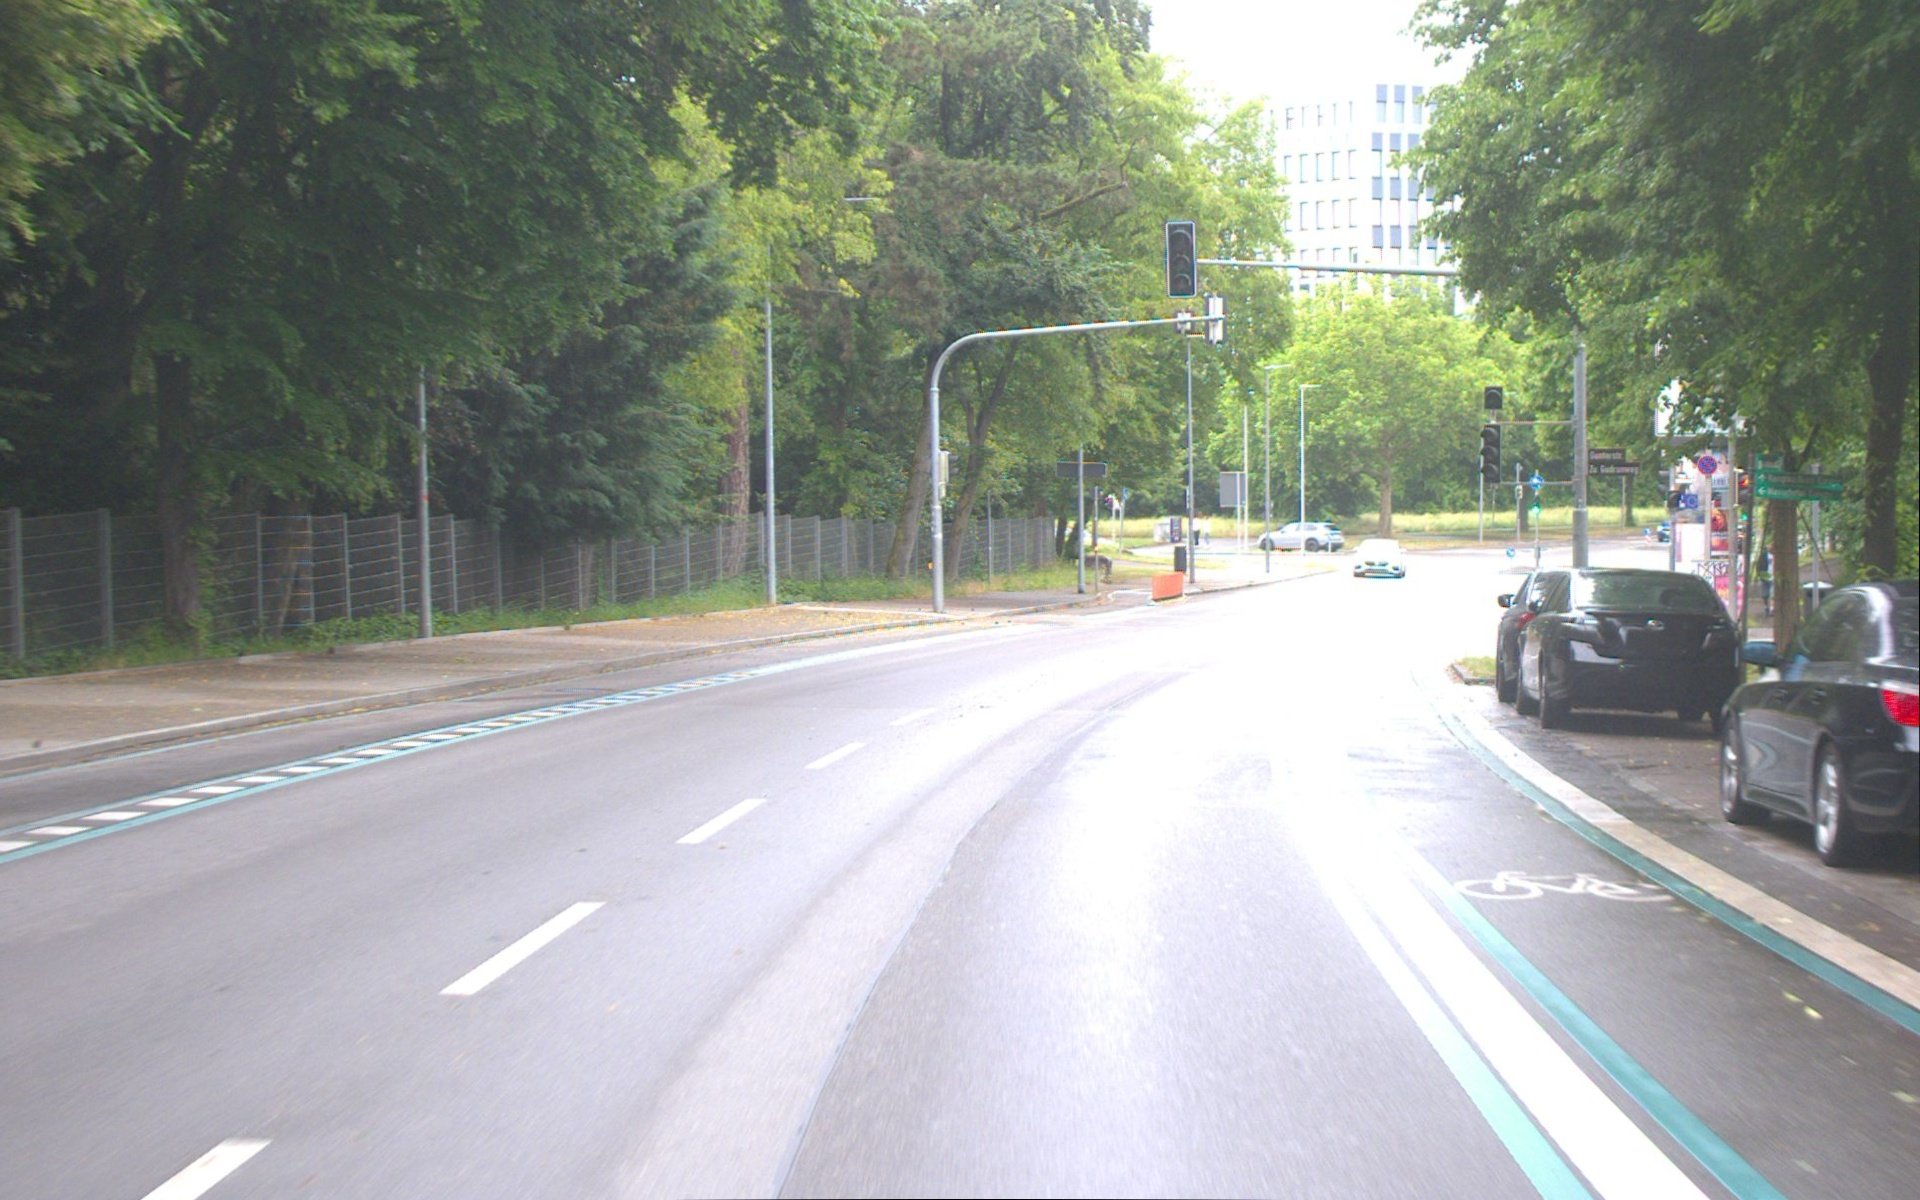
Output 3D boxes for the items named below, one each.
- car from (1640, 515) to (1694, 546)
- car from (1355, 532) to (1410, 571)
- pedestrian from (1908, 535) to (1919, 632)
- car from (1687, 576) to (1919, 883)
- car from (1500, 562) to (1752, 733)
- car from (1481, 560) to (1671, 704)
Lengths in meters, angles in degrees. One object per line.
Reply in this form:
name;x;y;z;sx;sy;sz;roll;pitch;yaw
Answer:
car;40.127;-3.924;195.053;1.996;1.680;3.994;1;1;27
car;16.976;-1.954;138.087;1.844;1.452;4.498;1;2;11
pedestrian;17.597;-0.288;61.340;0.886;1.727;1.146;1;1;-8
car;5.198;0.609;18.370;1.781;1.403;4.845;2;1;3
car;6.151;0.391;32.210;1.699;1.415;4.763;2;1;4
car;6.739;0.298;38.003;1.758;1.435;4.856;2;1;7
